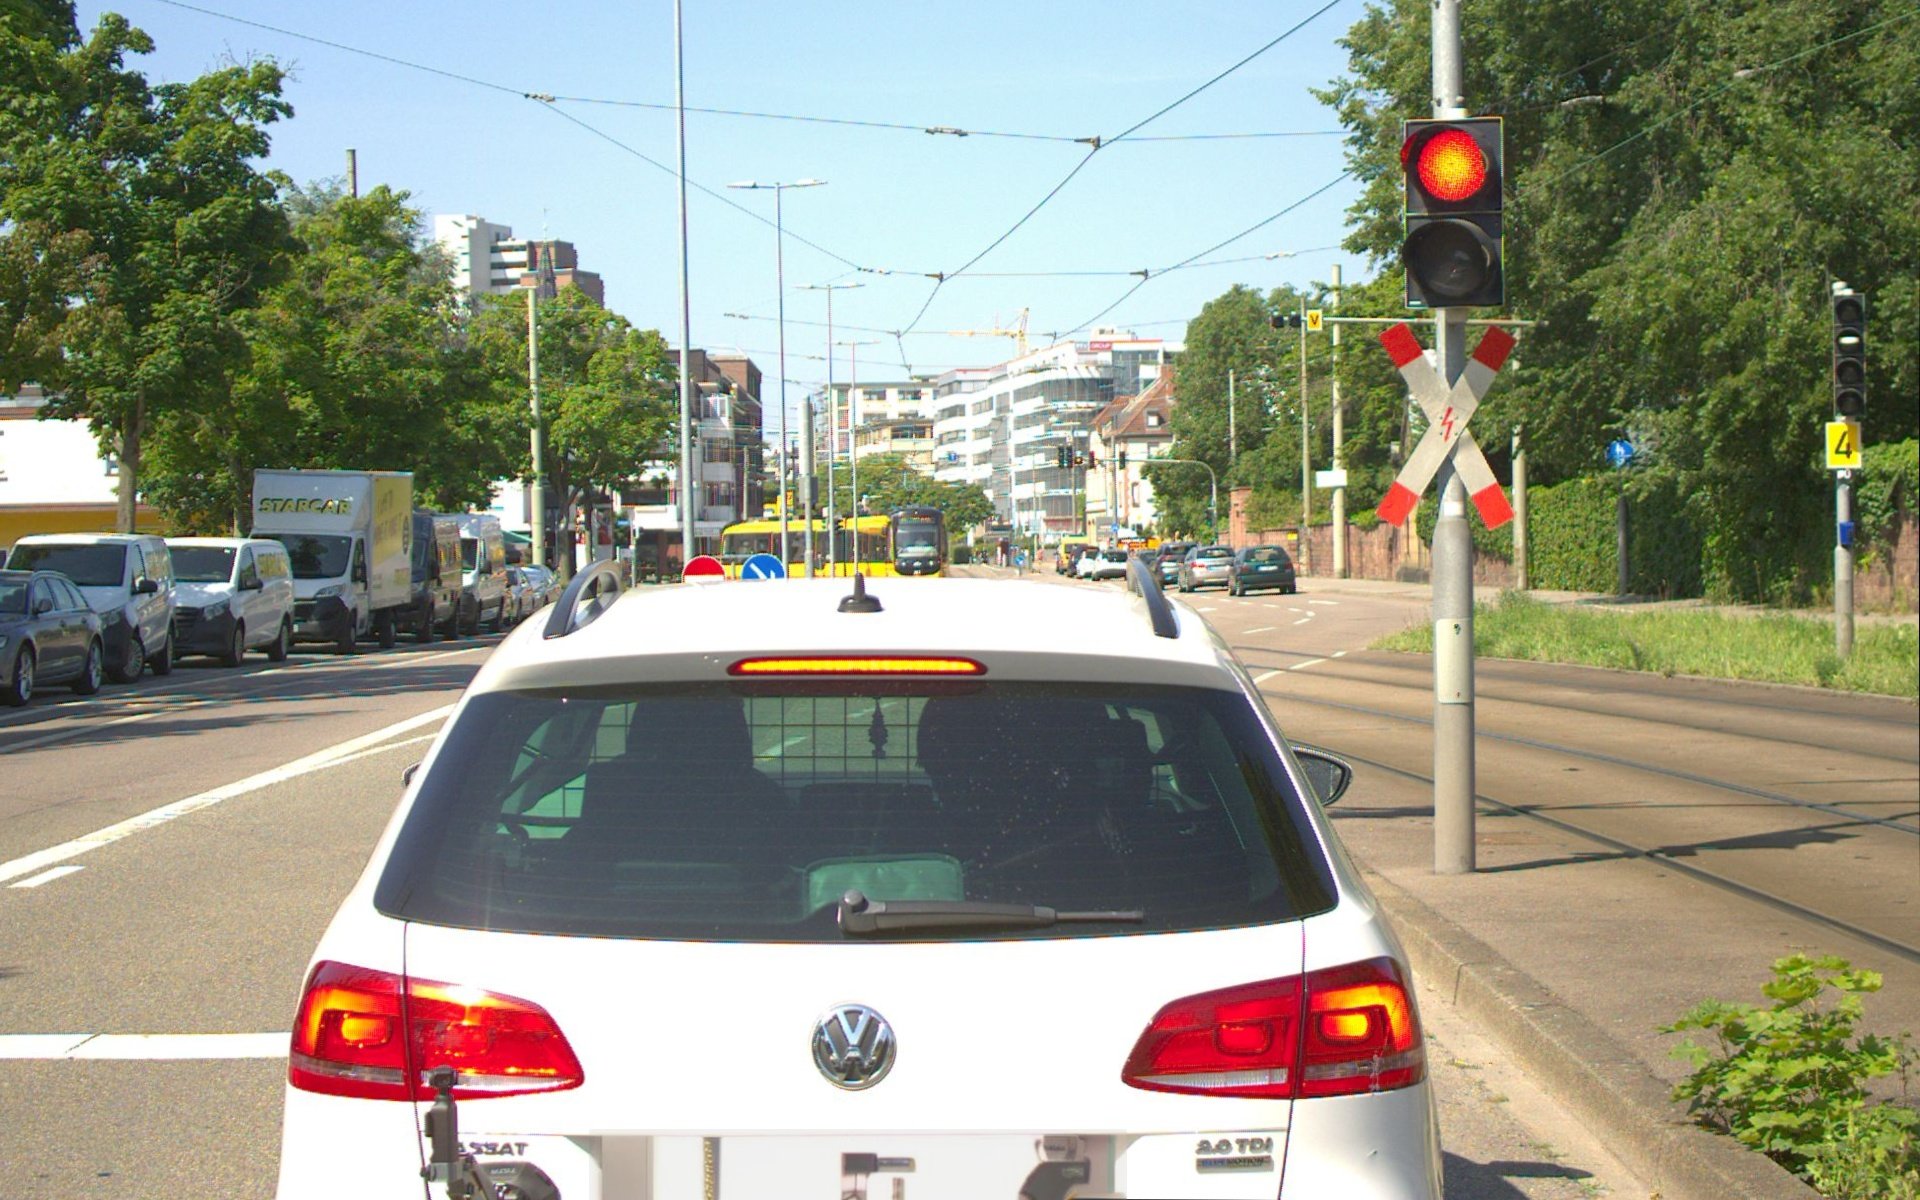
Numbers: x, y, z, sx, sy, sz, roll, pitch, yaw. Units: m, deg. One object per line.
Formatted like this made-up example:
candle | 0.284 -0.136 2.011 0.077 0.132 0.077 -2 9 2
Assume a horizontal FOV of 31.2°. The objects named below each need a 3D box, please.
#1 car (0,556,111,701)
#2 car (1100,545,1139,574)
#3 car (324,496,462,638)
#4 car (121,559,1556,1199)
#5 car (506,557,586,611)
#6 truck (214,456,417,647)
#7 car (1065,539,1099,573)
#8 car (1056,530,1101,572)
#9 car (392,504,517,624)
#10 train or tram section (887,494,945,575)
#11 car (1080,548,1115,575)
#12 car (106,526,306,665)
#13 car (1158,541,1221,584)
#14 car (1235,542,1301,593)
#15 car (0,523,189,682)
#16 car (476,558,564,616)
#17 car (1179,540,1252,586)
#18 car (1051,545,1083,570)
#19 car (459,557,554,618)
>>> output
car | -11.000 0.296 38.728 1.843 1.511 4.197 -1 1 -1
car | 7.467 -1.894 161.110 1.581 1.341 3.454 1 0 -1
car | -11.166 -0.672 68.024 1.843 2.659 5.003 -1 1 0
car | -0.204 0.675 6.225 1.768 1.441 3.913 1 1 -1
car | -11.604 -0.467 96.609 1.780 1.428 4.038 -1 1 -1
truck | -11.207 -0.863 60.367 2.356 3.112 6.892 -1 1 -1
car | 6.828 -2.459 192.834 1.691 1.806 3.454 1 0 -1
car | 7.304 -3.028 212.216 2.463 2.490 5.910 1 0 -1
car | -11.105 -0.822 75.826 1.843 2.486 5.857 -1 1 0
train or tram section | -1.824 -2.701 145.753 2.301 3.241 11.275 1 0 0
car | 7.164 -2.006 179.439 1.581 1.341 3.454 1 0 -1
car | -11.324 -0.119 51.977 1.843 1.954 5.134 -1 1 0
car | 8.300 -1.370 124.835 1.861 1.508 3.913 1 1 -2
car | 8.704 -0.925 97.406 1.746 1.383 3.913 1 1 4
car | -11.495 -0.015 45.297 1.843 1.930 5.195 -1 1 -4
car | -11.658 -0.356 91.345 1.843 1.428 4.038 -1 1 -1
car | 8.174 -1.200 110.401 1.861 1.412 4.325 1 1 -2
car | 7.101 -2.810 228.506 1.993 1.590 4.000 1 0 0
car | -11.245 -0.329 85.467 1.843 1.428 4.038 -1 1 -1
